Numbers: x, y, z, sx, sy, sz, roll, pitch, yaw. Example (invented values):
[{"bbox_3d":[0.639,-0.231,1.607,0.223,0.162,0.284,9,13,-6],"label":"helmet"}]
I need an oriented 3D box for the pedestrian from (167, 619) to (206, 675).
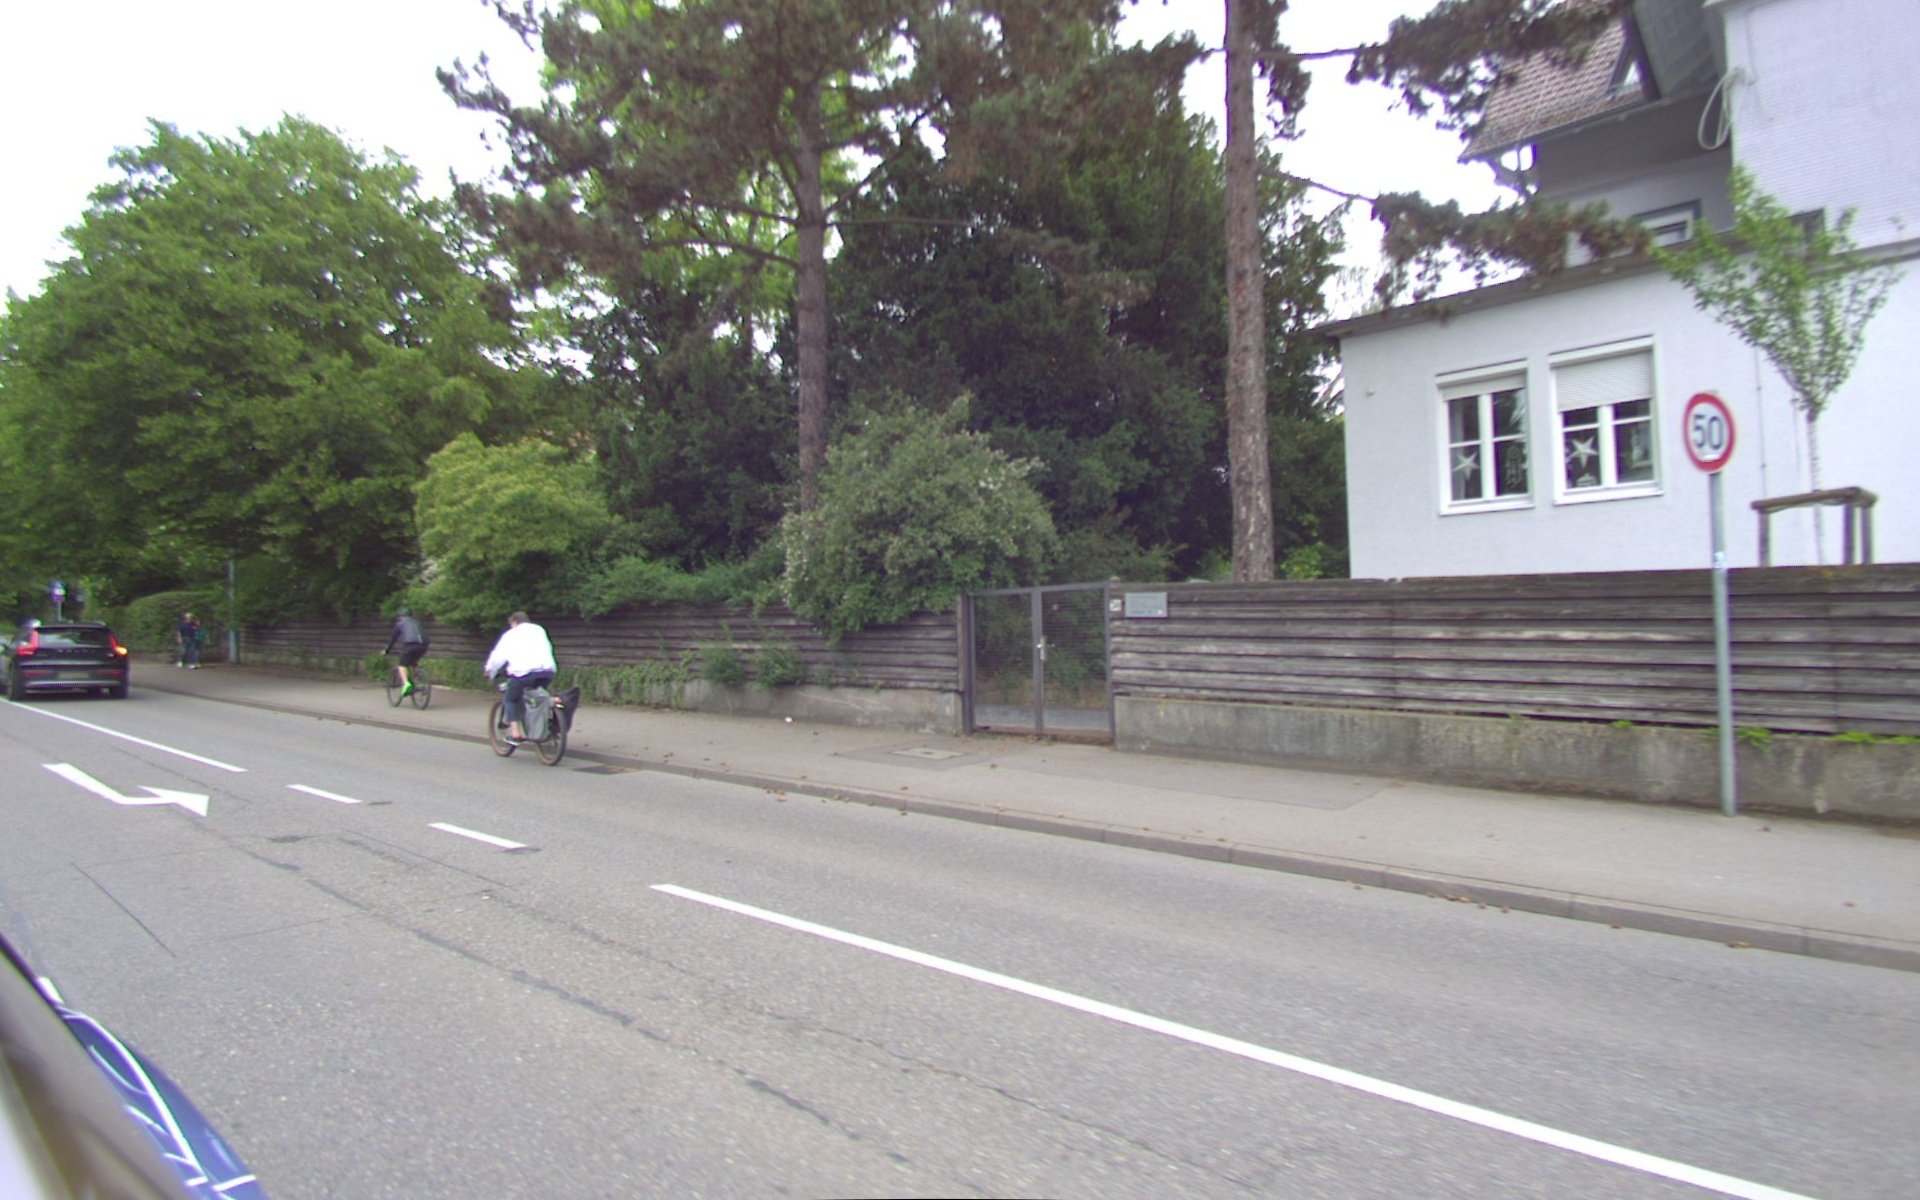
[{"bbox_3d":[-23.885,1.437,31.262,0.915,1.674,0.625,0,-1,28],"label":"pedestrian"}]

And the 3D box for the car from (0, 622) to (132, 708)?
[{"bbox_3d":[-19.203,1.307,21.511,4.282,1.643,1.812,-1,-3,42],"label":"car"}]

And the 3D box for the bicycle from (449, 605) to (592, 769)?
[{"bbox_3d":[-5.153,0.961,11.814,1.870,1.758,0.751,-1,-3,40],"label":"bicycle"}]

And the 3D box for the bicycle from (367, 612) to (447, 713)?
[{"bbox_3d":[-9.752,1.058,17.807,1.979,1.689,0.556,-1,-1,40],"label":"bicycle"}]
